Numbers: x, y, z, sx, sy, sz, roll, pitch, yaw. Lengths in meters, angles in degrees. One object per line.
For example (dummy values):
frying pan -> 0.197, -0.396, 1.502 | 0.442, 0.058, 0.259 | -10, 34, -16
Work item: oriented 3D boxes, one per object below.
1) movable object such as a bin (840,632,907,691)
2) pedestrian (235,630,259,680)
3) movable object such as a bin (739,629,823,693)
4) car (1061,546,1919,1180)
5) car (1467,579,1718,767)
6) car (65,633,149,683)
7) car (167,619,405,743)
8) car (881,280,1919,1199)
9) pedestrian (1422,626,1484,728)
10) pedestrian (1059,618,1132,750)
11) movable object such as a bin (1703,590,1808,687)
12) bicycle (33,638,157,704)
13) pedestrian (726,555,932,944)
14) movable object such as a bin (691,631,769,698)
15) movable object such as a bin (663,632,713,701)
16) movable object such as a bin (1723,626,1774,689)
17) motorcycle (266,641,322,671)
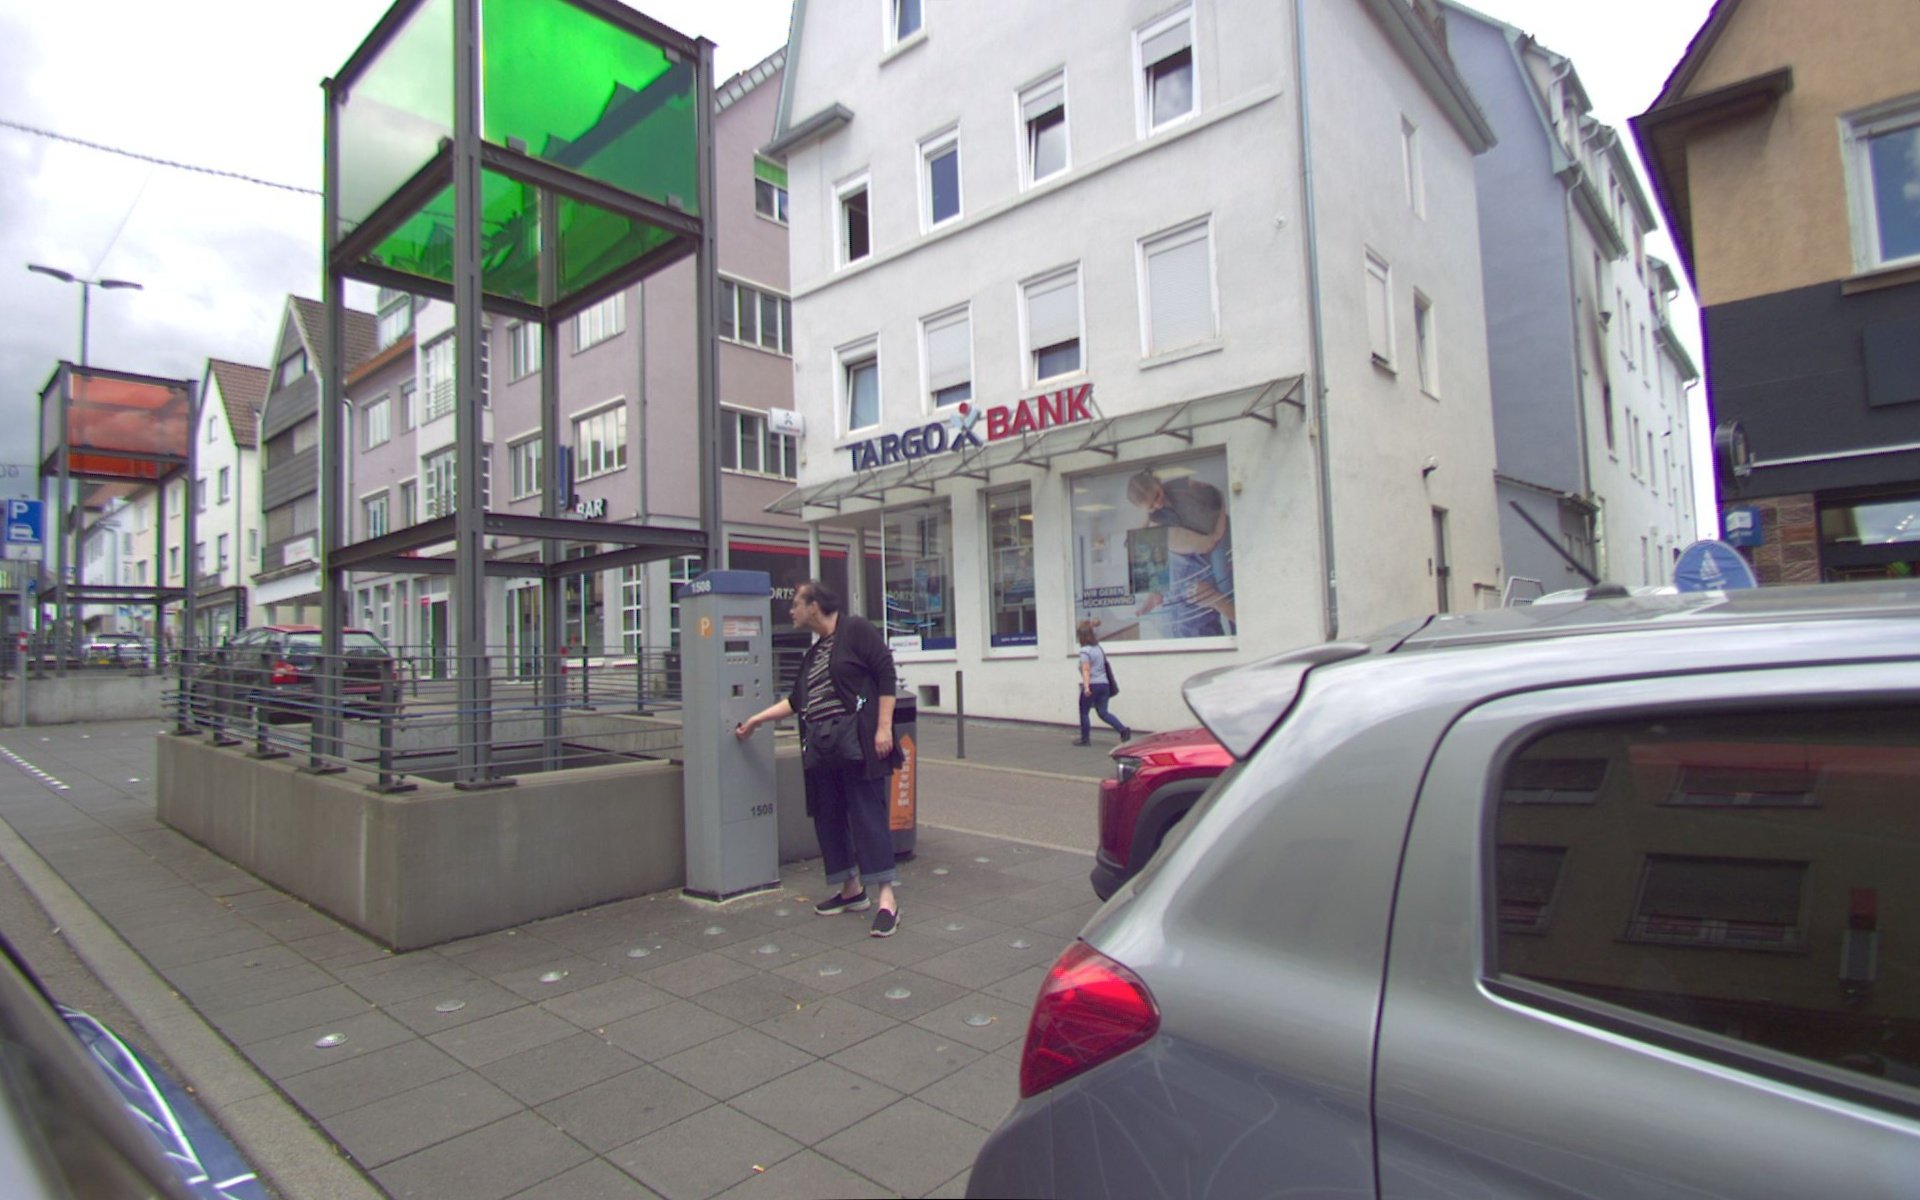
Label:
movable object such as a bin -> -2.121, 1.494, 24.875 | 1.043, 1.387, 1.270 | -2, -2, 40
pedestrian -> -25.380, 1.950, 36.028 | 0.513, 1.729, 0.584 | -1, 0, 41
movable object such as a bin -> -4.048, 1.357, 22.913 | 1.406, 1.387, 1.270 | -2, -2, 41
car -> 2.563, 0.680, 3.458 | 4.189, 1.555, 1.721 | -1, -3, 40
car -> 7.891, 0.740, 12.457 | 1.883, 1.887, 4.027 | -2, 0, 42
car -> -30.469, 2.022, 36.126 | 4.120, 1.583, 1.662 | -1, 0, 41
car -> -9.393, 1.037, 14.013 | 3.850, 1.486, 1.554 | -1, -3, 37
car -> 1.811, 0.535, 0.743 | 3.668, 1.544, 1.603 | -1, 0, 41
pedestrian -> 6.648, 1.019, 13.643 | 0.606, 1.329, 0.619 | -2, -2, 40
pedestrian -> 1.707, 1.037, 12.714 | 0.716, 1.585, 0.559 | -2, -4, 41
movable object such as a bin -> 13.233, 0.624, 16.926 | 1.265, 1.490, 2.282 | -2, -2, 36
bicycle -> -16.812, 1.356, 19.709 | 0.459, 1.232, 1.760 | -1, -2, 40
pedestrian -> -0.652, 0.661, 4.910 | 0.901, 1.685, 0.527 | -3, -2, 44
movable object such as a bin -> -4.998, 1.380, 22.020 | 1.067, 1.387, 1.270 | -2, -2, 40
movable object such as a bin -> -5.669, 1.373, 21.119 | 0.807, 1.387, 0.682 | -2, -2, 41
movable object such as a bin -> 11.928, 0.858, 15.325 | 0.570, 0.911, 0.790 | -2, -2, 37
motorcycle -> -27.474, 2.292, 41.748 | 0.633, 1.149, 1.830 | -1, 0, 39
